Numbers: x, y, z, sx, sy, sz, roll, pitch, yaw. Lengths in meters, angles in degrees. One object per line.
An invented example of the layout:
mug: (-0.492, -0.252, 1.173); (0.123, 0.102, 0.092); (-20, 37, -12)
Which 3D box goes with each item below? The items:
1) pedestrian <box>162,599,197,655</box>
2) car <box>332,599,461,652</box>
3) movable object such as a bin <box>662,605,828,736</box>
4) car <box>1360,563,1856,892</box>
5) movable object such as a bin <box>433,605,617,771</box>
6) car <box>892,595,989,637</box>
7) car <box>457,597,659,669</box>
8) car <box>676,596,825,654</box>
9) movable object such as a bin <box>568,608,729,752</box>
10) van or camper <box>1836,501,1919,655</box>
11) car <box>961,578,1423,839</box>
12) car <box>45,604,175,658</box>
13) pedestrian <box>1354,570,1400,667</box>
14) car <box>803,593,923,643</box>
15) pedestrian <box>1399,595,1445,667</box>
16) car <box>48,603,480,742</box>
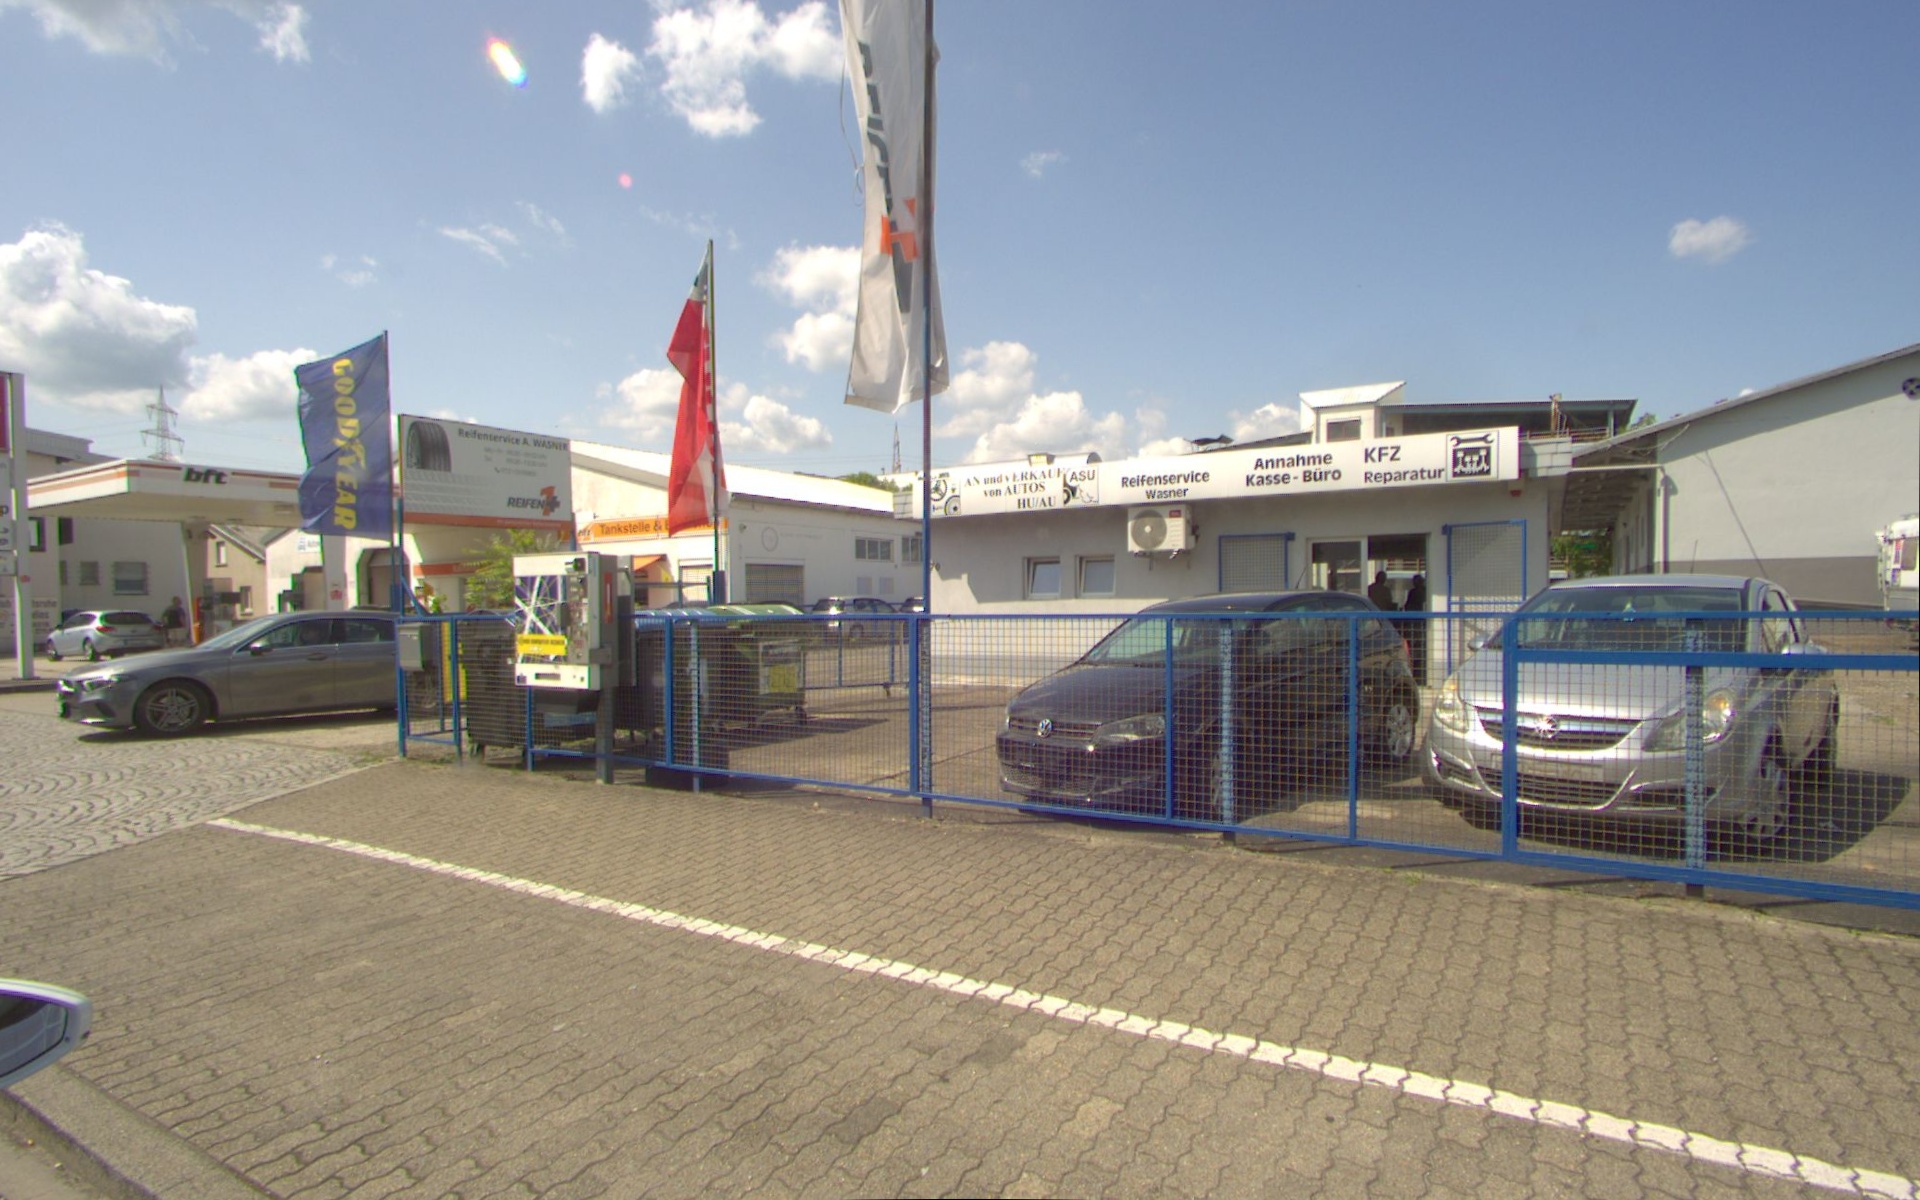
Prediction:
pedestrian: (-23.775, 0.799, 30.514); (0.698, 1.679, 0.546); (-1, 1, -22)
car: (-17.309, 0.746, 30.721); (3.777, 1.523, 1.803); (-1, 0, 31)
movable object such as a bin: (-2.533, 0.781, 11.900); (1.318, 1.414, 1.400); (0, 1, 31)
car: (4.272, 0.560, 6.377); (3.729, 1.472, 1.757); (-1, 0, -42)
movable object such as a bin: (-4.159, 0.784, 9.604); (1.225, 1.455, 1.106); (0, 1, 31)
car: (-0.638, 0.533, 35.733); (1.564, 1.385, 3.860); (0, 0, 33)
car: (-9.164, 0.687, 23.161); (1.564, 1.482, 4.187); (0, 0, 33)
car: (-5.717, 0.640, 27.816); (1.564, 1.482, 4.187); (0, 0, 33)
movable object such as a bin: (-3.326, 0.801, 10.735); (1.225, 1.415, 1.106); (0, 1, 31)
van or camper: (21.015, -0.454, 19.525); (5.571, 3.005, 2.264); (0, 1, 31)
car: (1.888, 0.600, 7.492); (3.655, 1.472, 1.625); (-1, 0, -43)
car: (-25.736, 0.899, 30.304); (3.776, 1.523, 1.803); (-1, 0, 30)
pedestrian: (7.352, 0.318, 17.642); (0.654, 1.671, 0.563); (0, 1, 34)
car: (-3.014, 0.526, 32.047); (1.564, 1.482, 4.187); (0, 0, 33)
pedestrian: (8.047, 0.532, 17.436); (0.654, 1.225, 0.563); (0, 1, 34)
car: (-8.624, 0.781, 12.724); (1.656, 1.434, 4.249); (0, 0, 42)
